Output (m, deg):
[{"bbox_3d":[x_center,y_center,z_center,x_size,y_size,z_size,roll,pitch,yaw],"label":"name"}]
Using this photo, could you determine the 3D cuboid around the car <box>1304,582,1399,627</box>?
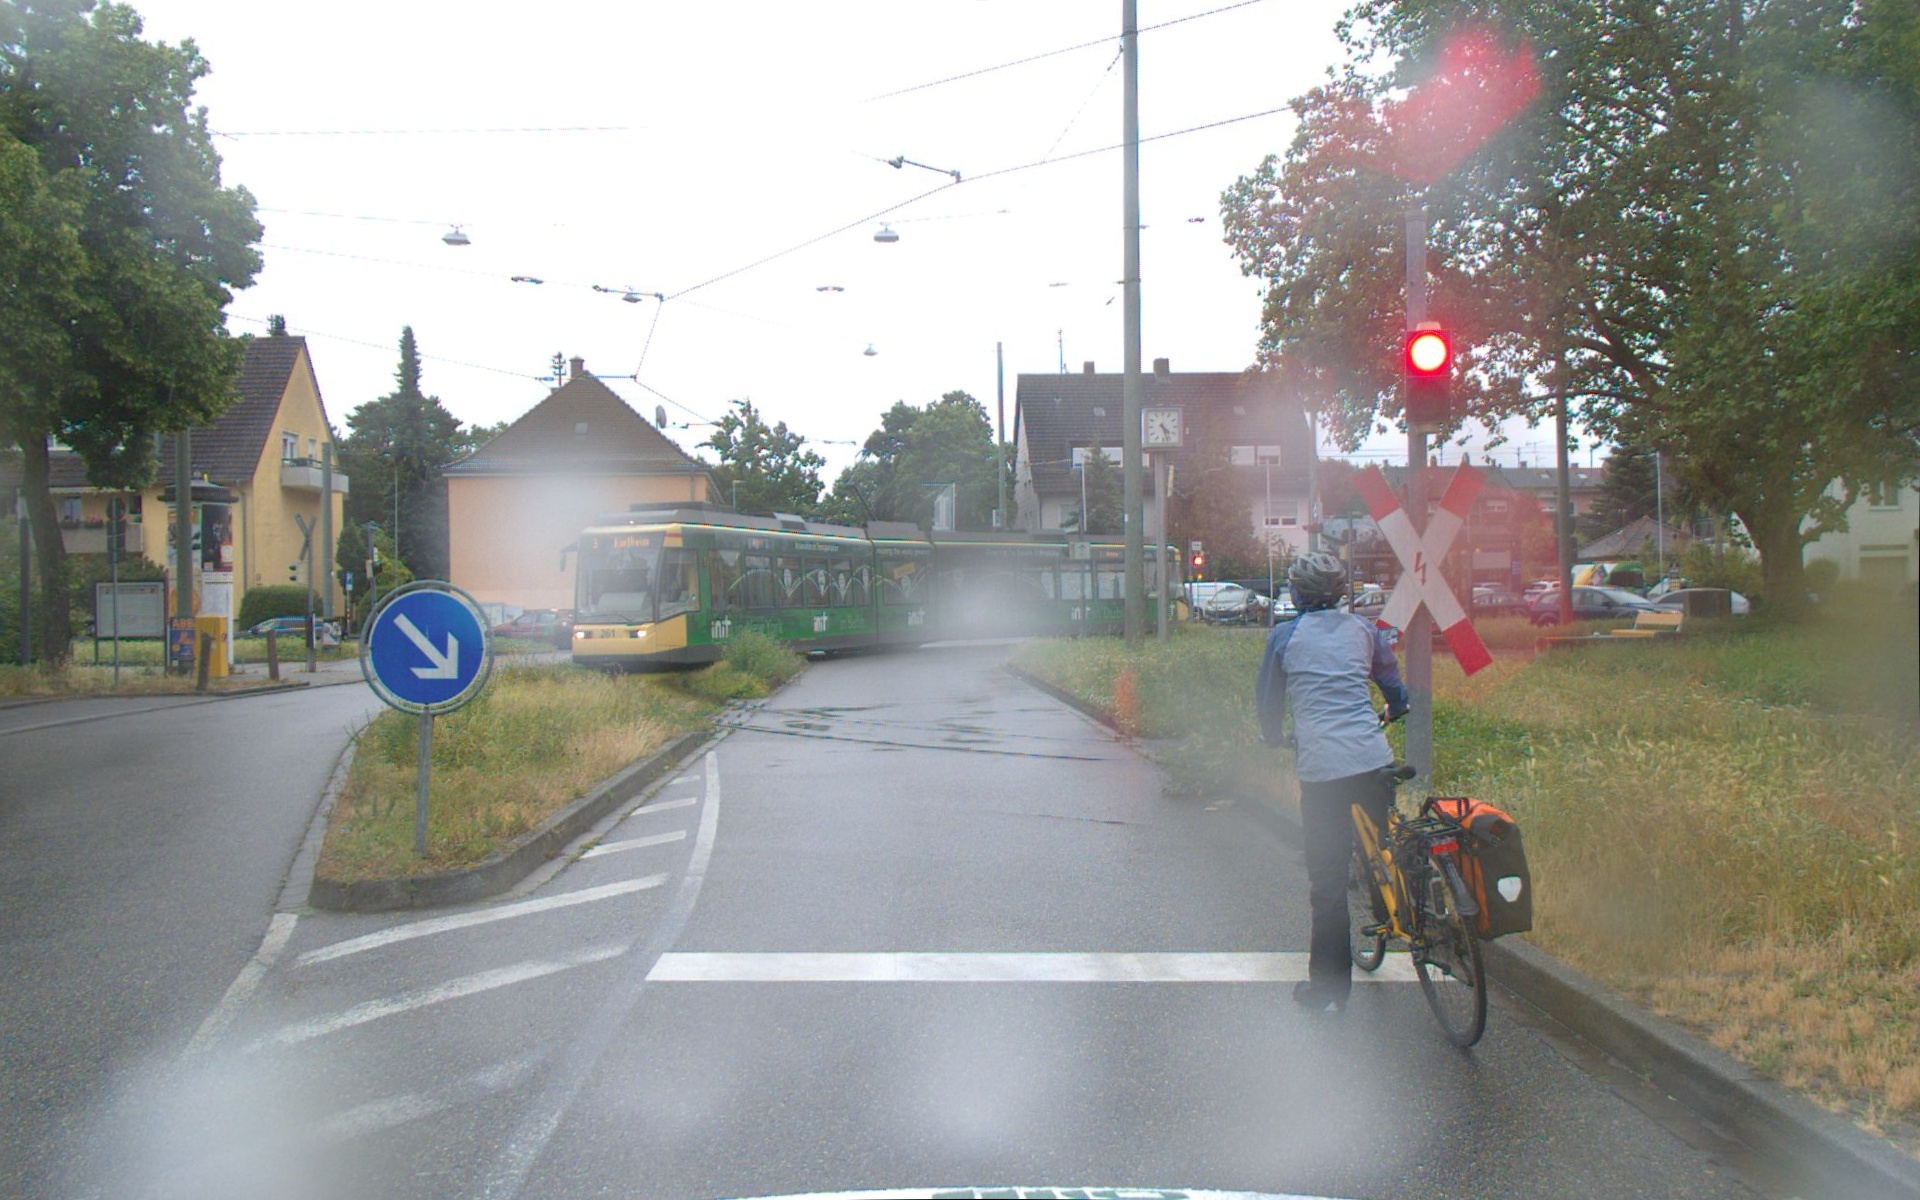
[{"bbox_3d":[18.091,0.223,76.539,3.907,1.985,1.999,1,-1,-3],"label":"car"}]

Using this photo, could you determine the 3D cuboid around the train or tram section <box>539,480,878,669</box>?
[{"bbox_3d":[-5.197,-0.468,37.827,2.702,3.615,12.211,-1,0,16],"label":"train or tram section"}]

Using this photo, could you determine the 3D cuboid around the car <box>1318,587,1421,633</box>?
[{"bbox_3d":[16.151,0.389,65.339,3.609,1.731,1.890,1,0,0],"label":"car"}]

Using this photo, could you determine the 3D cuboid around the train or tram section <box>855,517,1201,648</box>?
[{"bbox_3d":[2.491,-0.504,51.562,2.723,3.615,13.037,-1,-1,45],"label":"train or tram section"}]

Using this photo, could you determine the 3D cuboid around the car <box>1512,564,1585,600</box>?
[{"bbox_3d":[34.240,-1.014,96.296,1.963,2.049,3.978,1,0,-19],"label":"car"}]

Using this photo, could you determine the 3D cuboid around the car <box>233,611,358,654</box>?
[{"bbox_3d":[-24.442,1.195,60.955,3.911,1.482,1.831,1,0,-7],"label":"car"}]

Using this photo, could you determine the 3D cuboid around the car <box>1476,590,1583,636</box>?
[{"bbox_3d":[22.609,0.504,65.739,3.609,1.731,1.890,1,0,0],"label":"car"}]

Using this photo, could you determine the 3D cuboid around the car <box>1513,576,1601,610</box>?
[{"bbox_3d":[31.064,-0.362,86.071,3.905,1.668,1.846,1,0,-1],"label":"car"}]

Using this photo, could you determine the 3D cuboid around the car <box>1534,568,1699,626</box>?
[{"bbox_3d":[18.016,-0.076,45.495,3.848,1.522,1.798,1,-1,43],"label":"car"}]

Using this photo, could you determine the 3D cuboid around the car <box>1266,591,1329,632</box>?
[{"bbox_3d":[14.560,0.511,71.174,1.804,1.668,3.997,1,0,24],"label":"car"}]

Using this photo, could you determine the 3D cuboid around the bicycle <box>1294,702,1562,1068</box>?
[{"bbox_3d":[1.649,0.950,6.073,0.437,1.022,1.727,-1,1,-2],"label":"bicycle"}]

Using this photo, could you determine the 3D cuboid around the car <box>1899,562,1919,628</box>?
[{"bbox_3d":[28.138,-0.115,45.526,3.703,1.829,1.798,1,-1,43],"label":"car"}]

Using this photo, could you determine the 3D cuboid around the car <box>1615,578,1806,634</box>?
[{"bbox_3d":[18.468,0.148,40.858,3.902,1.308,1.847,1,0,6],"label":"car"}]

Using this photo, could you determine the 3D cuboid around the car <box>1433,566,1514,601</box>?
[{"bbox_3d":[28.552,-0.911,92.062,3.904,1.822,2.000,1,0,2],"label":"car"}]

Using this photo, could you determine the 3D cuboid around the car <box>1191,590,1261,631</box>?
[{"bbox_3d":[11.398,0.454,70.736,1.954,1.668,3.997,1,0,24],"label":"car"}]

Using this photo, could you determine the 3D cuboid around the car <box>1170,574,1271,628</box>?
[{"bbox_3d":[12.015,0.059,76.410,4.307,2.365,1.999,1,-1,-3],"label":"car"}]

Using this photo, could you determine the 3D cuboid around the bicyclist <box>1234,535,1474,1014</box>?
[{"bbox_3d":[1.441,0.609,6.170,0.653,1.654,0.852,1,-1,-2],"label":"bicyclist"}]

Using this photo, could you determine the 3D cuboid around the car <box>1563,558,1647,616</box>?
[{"bbox_3d":[28.824,-0.569,74.024,1.953,2.485,4.352,1,0,-2],"label":"car"}]

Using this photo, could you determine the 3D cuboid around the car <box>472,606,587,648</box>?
[{"bbox_3d":[-16.187,1.012,62.326,3.911,1.482,1.831,1,0,-7],"label":"car"}]

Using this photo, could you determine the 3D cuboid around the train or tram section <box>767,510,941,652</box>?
[{"bbox_3d":[-2.809,-0.467,45.108,2.705,3.615,4.985,-1,0,24],"label":"train or tram section"}]
